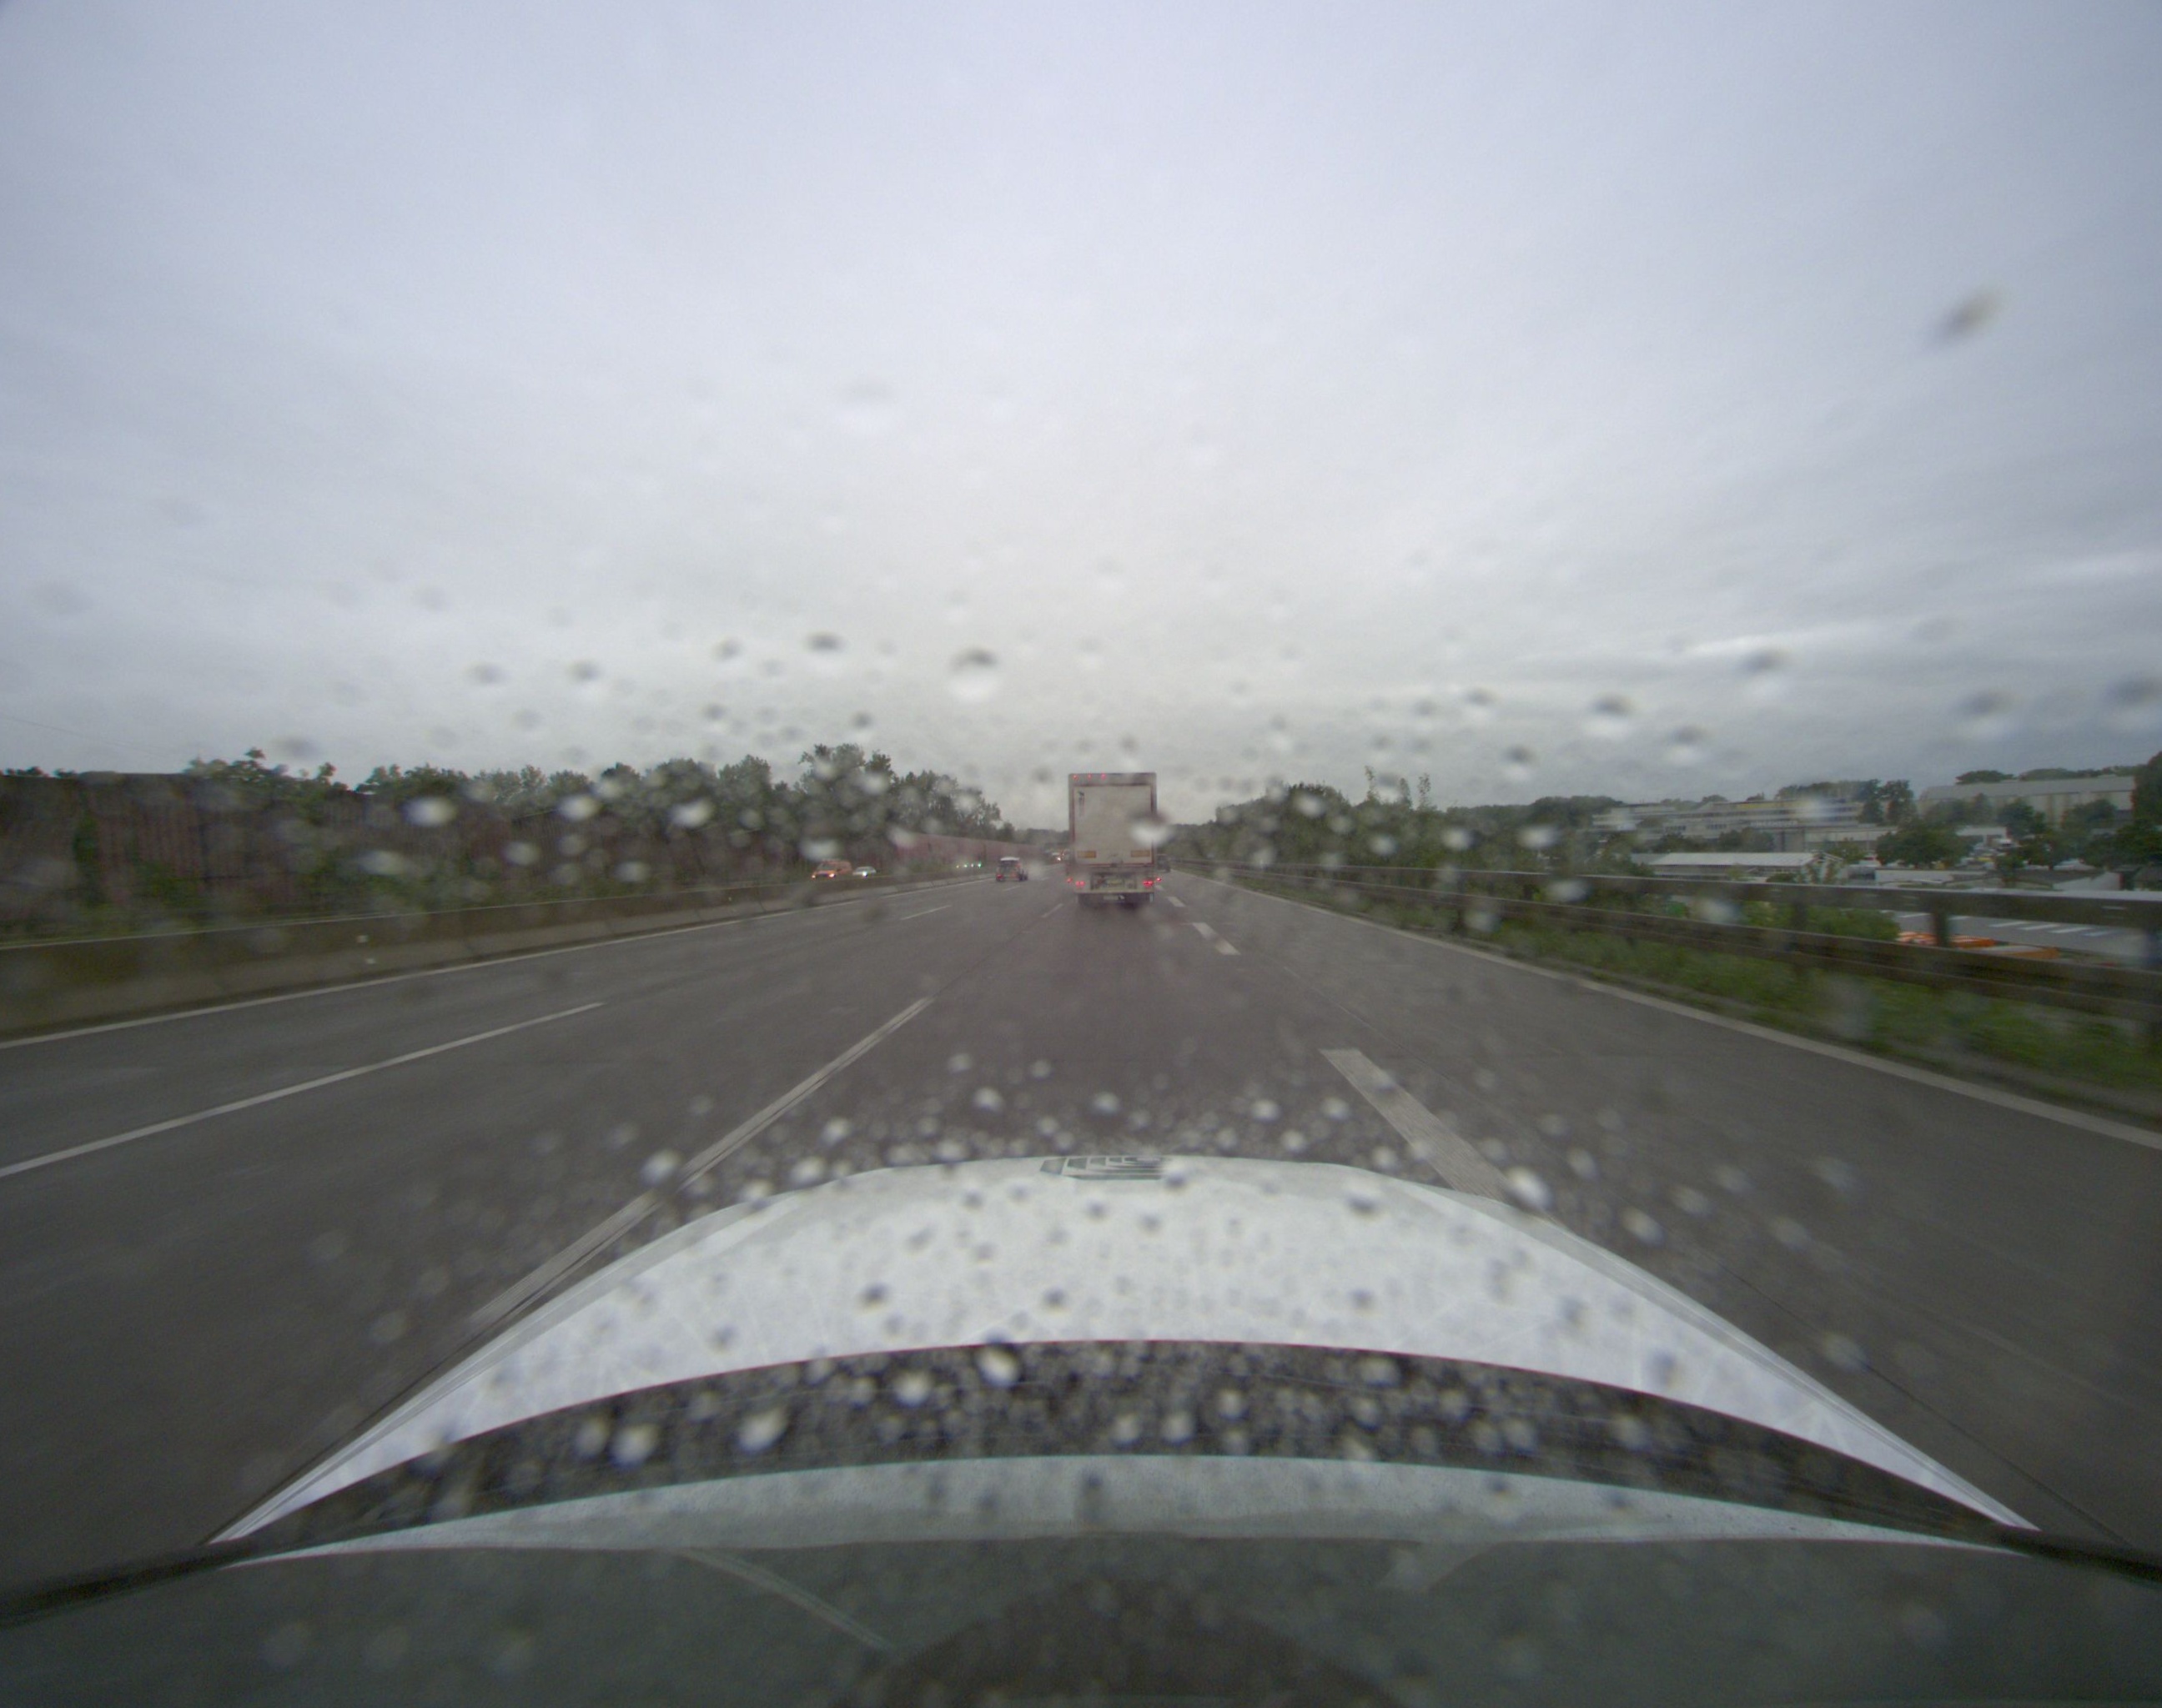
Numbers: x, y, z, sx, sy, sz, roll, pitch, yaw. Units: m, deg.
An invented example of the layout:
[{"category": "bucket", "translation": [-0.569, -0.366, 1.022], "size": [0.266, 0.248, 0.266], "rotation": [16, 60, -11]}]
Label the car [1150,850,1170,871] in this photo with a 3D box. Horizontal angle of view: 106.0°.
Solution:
[{"category": "car", "translation": [7.554, 0.588, 78.086], "size": [1.889, 1.949, 4.005], "rotation": [0, 0, 4]}]

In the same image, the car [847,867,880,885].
[{"category": "car", "translation": [-22.917, 2.337, 85.840], "size": [1.985, 1.739, 4.401], "rotation": [-1, 0, 3]}]

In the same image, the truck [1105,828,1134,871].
[{"category": "truck", "translation": [4.823, -0.549, 101.917], "size": [3.519, 5.183, 9.900], "rotation": [0, 0, 3]}]

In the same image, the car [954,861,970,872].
[{"category": "car", "translation": [-20.145, 2.144, 138.178], "size": [1.986, 1.784, 4.292], "rotation": [-1, 0, 2]}]

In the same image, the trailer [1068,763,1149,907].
[{"category": "trailer", "translation": [1.192, -0.585, 30.964], "size": [2.333, 4.157, 14.838], "rotation": [0, 0, 3]}]

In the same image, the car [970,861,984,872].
[{"category": "car", "translation": [-19.608, 2.274, 153.699], "size": [1.985, 2.014, 4.004], "rotation": [-1, 0, 3]}]

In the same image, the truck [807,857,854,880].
[{"category": "truck", "translation": [-20.059, 1.166, 65.446], "size": [1.985, 1.739, 5.021], "rotation": [-1, 0, 4]}]

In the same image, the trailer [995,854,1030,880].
[{"category": "trailer", "translation": [-4.683, 0.862, 56.144], "size": [1.807, 1.624, 4.572], "rotation": [-1, 0, 3]}]
